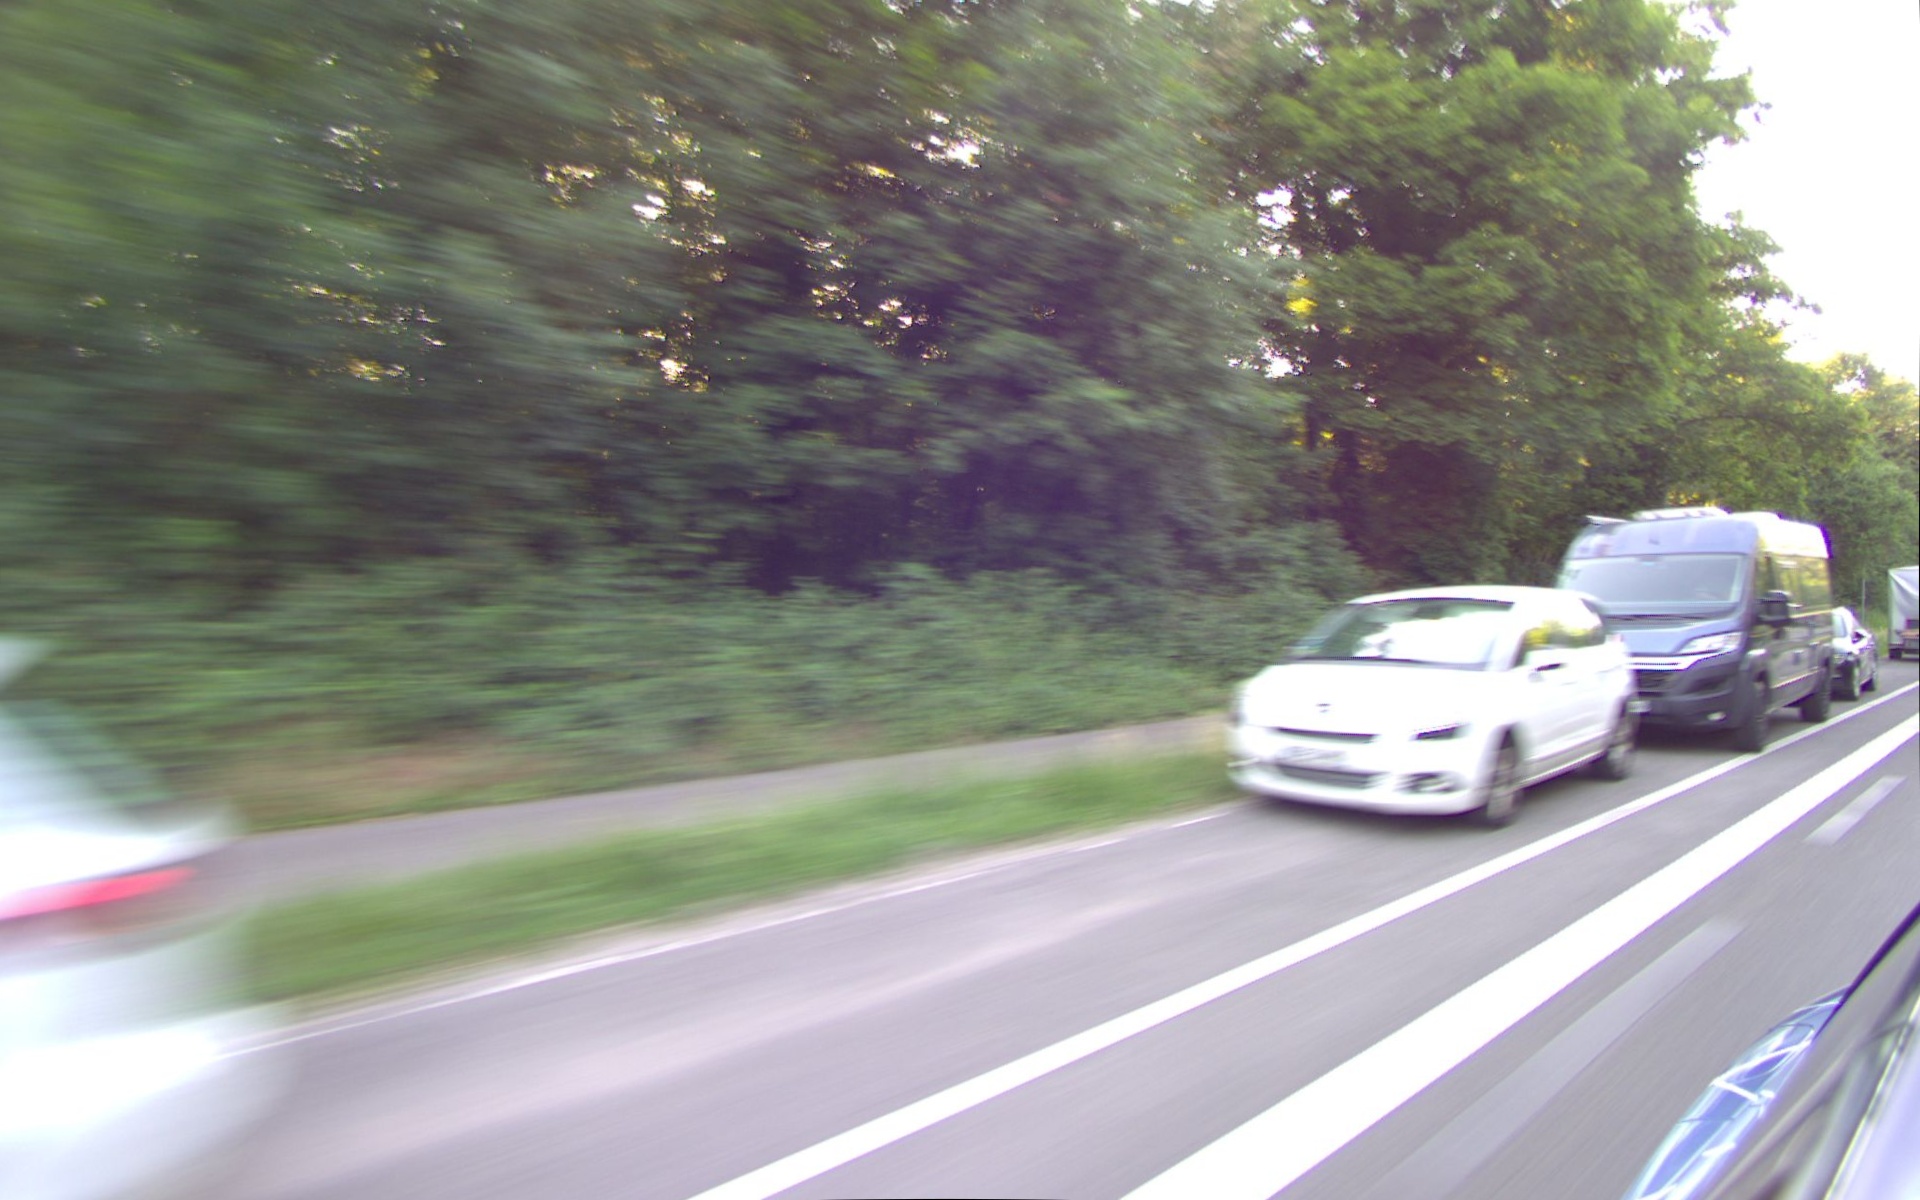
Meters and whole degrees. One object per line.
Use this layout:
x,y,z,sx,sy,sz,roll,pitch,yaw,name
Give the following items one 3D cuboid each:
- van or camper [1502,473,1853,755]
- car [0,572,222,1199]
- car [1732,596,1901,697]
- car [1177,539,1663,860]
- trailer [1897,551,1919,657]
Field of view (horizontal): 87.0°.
8.738,0.121,12.036,5.956,2.573,2.130,0,0,-42,van or camper
-3.678,0.693,0.920,4.679,1.512,1.845,0,0,-43,car
14.511,0.684,17.064,4.456,1.495,1.605,0,-1,-42,car
3.814,0.551,7.915,4.645,1.787,1.853,0,0,-43,car
26.337,0.077,26.758,4.196,2.682,1.864,-1,0,-41,trailer
